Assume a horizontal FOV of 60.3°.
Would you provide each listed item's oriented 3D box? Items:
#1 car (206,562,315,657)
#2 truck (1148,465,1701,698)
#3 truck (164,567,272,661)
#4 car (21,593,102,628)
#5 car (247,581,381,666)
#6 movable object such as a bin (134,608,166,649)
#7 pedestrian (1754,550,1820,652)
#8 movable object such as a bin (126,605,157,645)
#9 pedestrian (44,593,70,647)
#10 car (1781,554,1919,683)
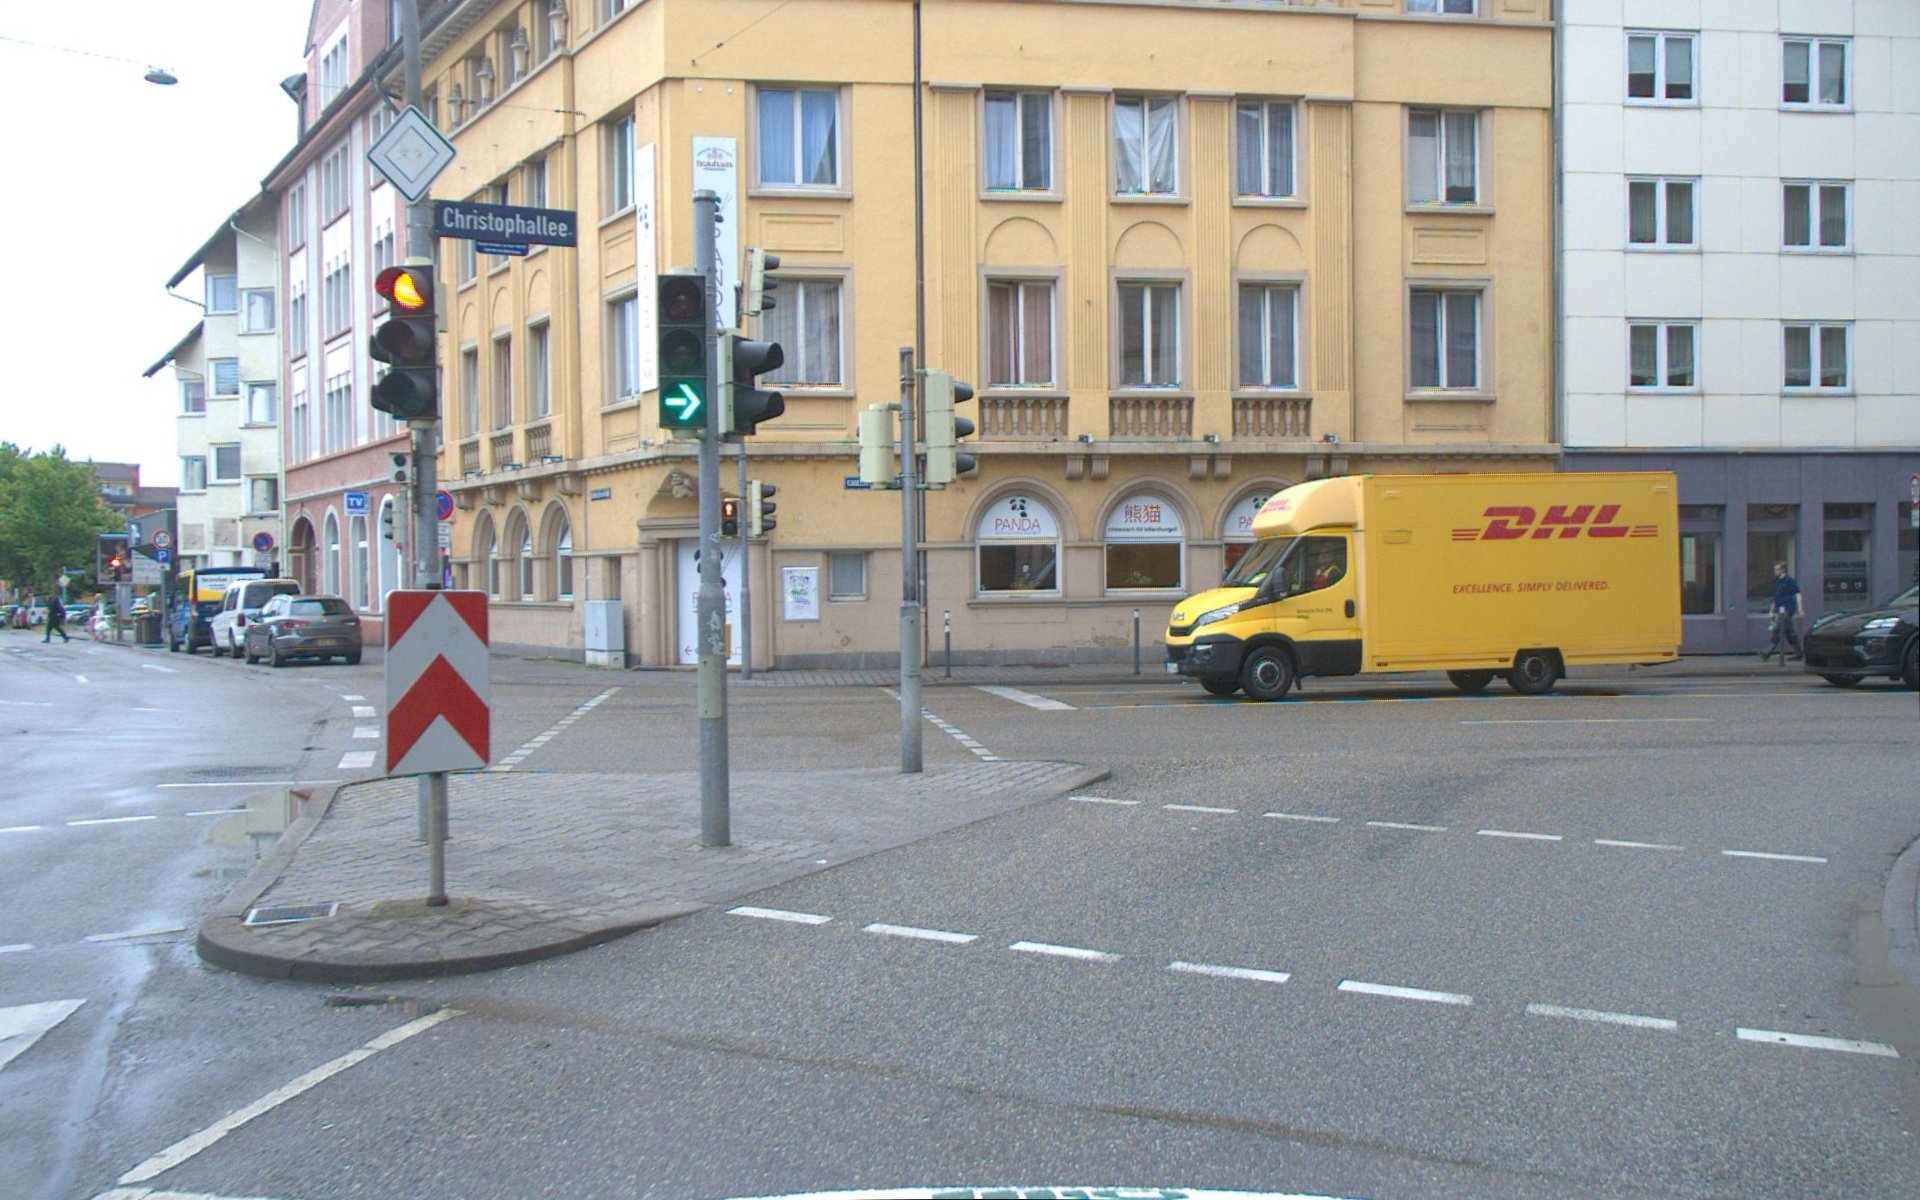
[{"bbox_3d":[-17.179,0.183,40.505,1.747,2.218,3.952,0,1,-34],"label":"car"},{"bbox_3d":[6.184,-0.285,22.266,6.962,2.901,2.078,-1,0,-10],"label":"truck"},{"bbox_3d":[-20.340,0.326,45.245,2.009,2.431,4.186,0,1,-34],"label":"truck"},{"bbox_3d":[-55.223,0.662,101.720,1.967,2.049,3.971,1,0,45],"label":"car"},{"bbox_3d":[-13.516,0.486,34.468,1.861,1.665,3.954,0,-1,-33],"label":"car"},{"bbox_3d":[-26.144,0.927,53.385,0.741,1.253,0.973,4,-2,-33],"label":"movable object such as a bin"},{"bbox_3d":[14.955,0.009,29.919,0.775,1.822,0.761,-1,0,-9],"label":"pedestrian"},{"bbox_3d":[-27.039,0.827,54.640,0.741,1.253,0.973,4,-2,-33],"label":"movable object such as a bin"},{"bbox_3d":[-33.335,0.719,61.066,0.716,1.971,0.783,-1,1,-36],"label":"pedestrian"},{"bbox_3d":[14.404,0.193,23.421,4.722,1.714,1.996,-1,1,-10],"label":"car"}]
